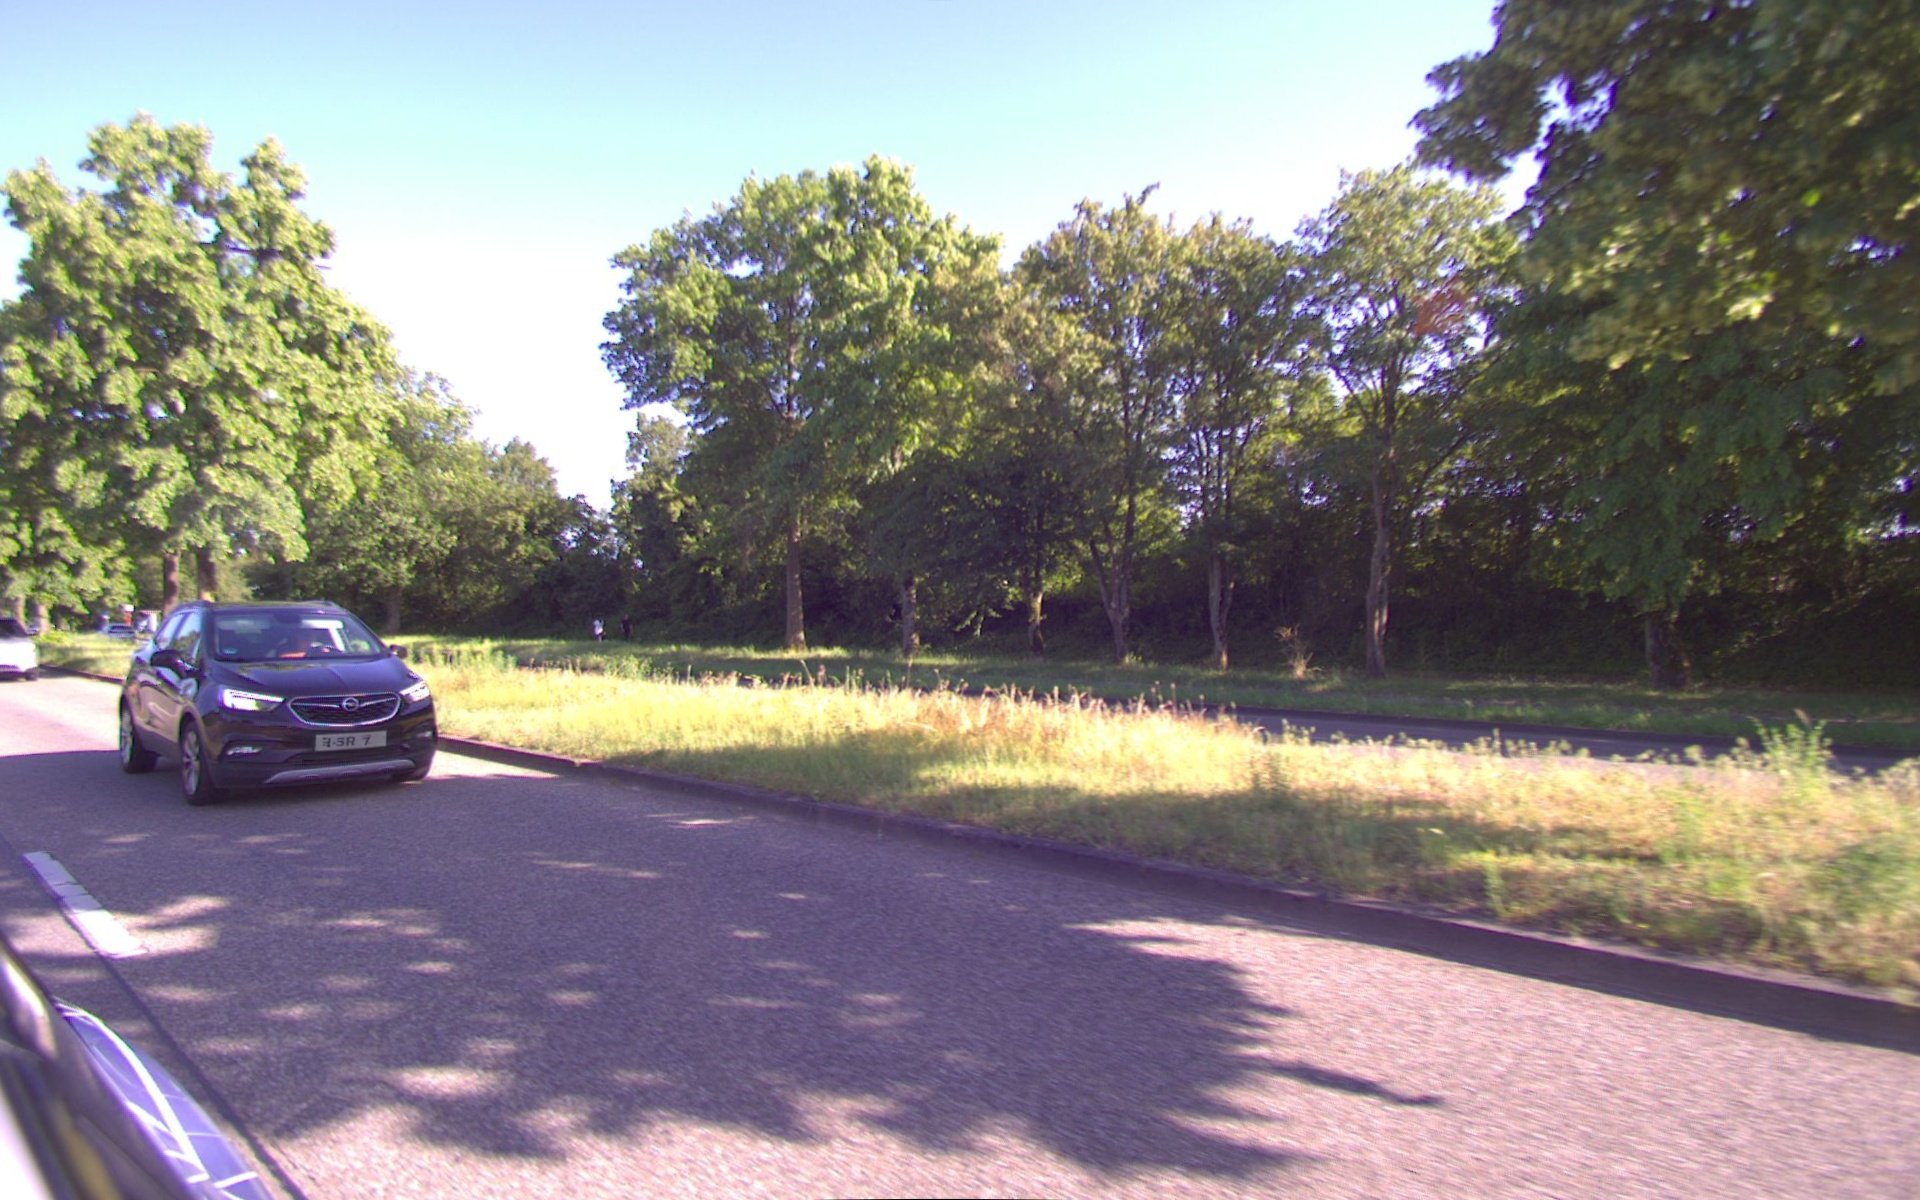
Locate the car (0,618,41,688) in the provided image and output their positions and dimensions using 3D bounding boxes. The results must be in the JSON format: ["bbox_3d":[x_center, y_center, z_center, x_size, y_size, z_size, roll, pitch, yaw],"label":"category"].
[{"bbox_3d":[-23.920,1.254,24.674,4.104,1.622,1.766,-1,-2,41],"label":"car"}]

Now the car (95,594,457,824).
[{"bbox_3d":[-6.452,0.829,9.336,4.415,1.644,1.678,-1,-2,41],"label":"car"}]

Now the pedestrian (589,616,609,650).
[{"bbox_3d":[-17.954,1.631,50.338,0.678,1.672,0.675,-1,1,36],"label":"pedestrian"}]

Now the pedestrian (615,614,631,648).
[{"bbox_3d":[-17.054,1.577,51.275,0.540,1.672,0.553,-1,0,43],"label":"pedestrian"}]

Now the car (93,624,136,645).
[{"bbox_3d":[-62.569,2.526,74.852,4.343,1.468,1.708,-2,-4,41],"label":"car"}]

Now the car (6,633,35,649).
[{"bbox_3d":[-96.322,4.175,103.759,3.745,1.590,1.710,-2,-4,41],"label":"car"}]
